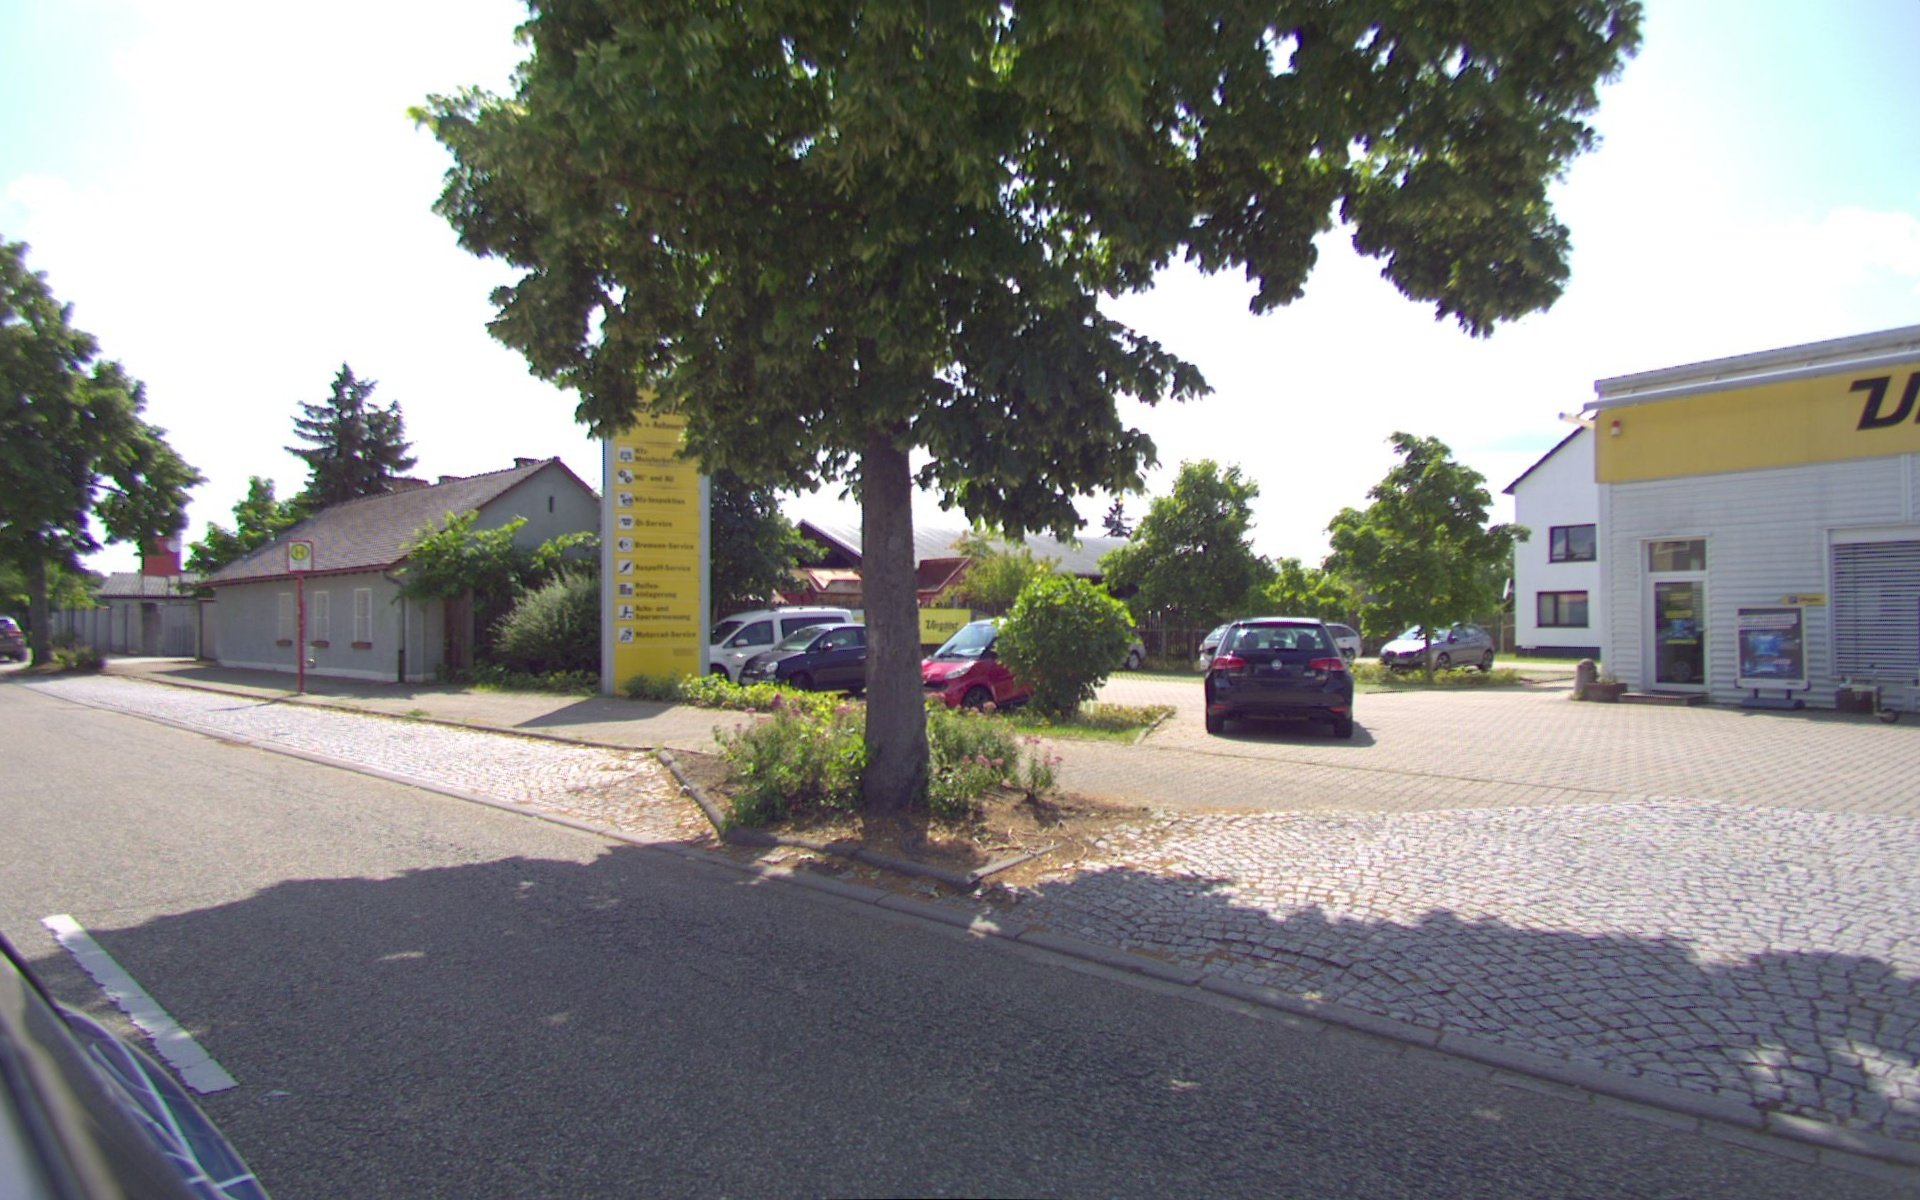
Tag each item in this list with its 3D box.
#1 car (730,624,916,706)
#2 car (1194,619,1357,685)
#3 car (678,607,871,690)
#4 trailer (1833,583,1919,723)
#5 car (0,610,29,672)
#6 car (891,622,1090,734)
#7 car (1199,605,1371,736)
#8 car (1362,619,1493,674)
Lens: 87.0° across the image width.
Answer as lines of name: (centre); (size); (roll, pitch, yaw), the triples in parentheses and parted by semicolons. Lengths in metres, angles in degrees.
car: (-2.680, 1.228, 20.136); (3.498, 1.393, 1.239); (-1, 0, -37)
car: (7.827, 1.236, 24.962); (4.213, 1.494, 1.674); (1, -1, -37)
car: (-4.158, 1.037, 22.990); (4.036, 1.726, 1.681); (0, -2, -42)
trailer: (12.596, 0.637, 12.137); (1.249, 1.705, 2.977); (-1, 0, -34)
car: (-37.276, 1.560, 38.944); (1.969, 2.320, 4.006); (1, -2, -41)
car: (0.489, 1.163, 16.160); (2.736, 1.556, 1.596); (-1, 0, -32)
car: (4.206, 0.801, 13.321); (1.844, 1.424, 3.823); (-1, 0, 17)
car: (13.740, 1.323, 29.671); (3.937, 1.458, 2.003); (0, -2, -40)
